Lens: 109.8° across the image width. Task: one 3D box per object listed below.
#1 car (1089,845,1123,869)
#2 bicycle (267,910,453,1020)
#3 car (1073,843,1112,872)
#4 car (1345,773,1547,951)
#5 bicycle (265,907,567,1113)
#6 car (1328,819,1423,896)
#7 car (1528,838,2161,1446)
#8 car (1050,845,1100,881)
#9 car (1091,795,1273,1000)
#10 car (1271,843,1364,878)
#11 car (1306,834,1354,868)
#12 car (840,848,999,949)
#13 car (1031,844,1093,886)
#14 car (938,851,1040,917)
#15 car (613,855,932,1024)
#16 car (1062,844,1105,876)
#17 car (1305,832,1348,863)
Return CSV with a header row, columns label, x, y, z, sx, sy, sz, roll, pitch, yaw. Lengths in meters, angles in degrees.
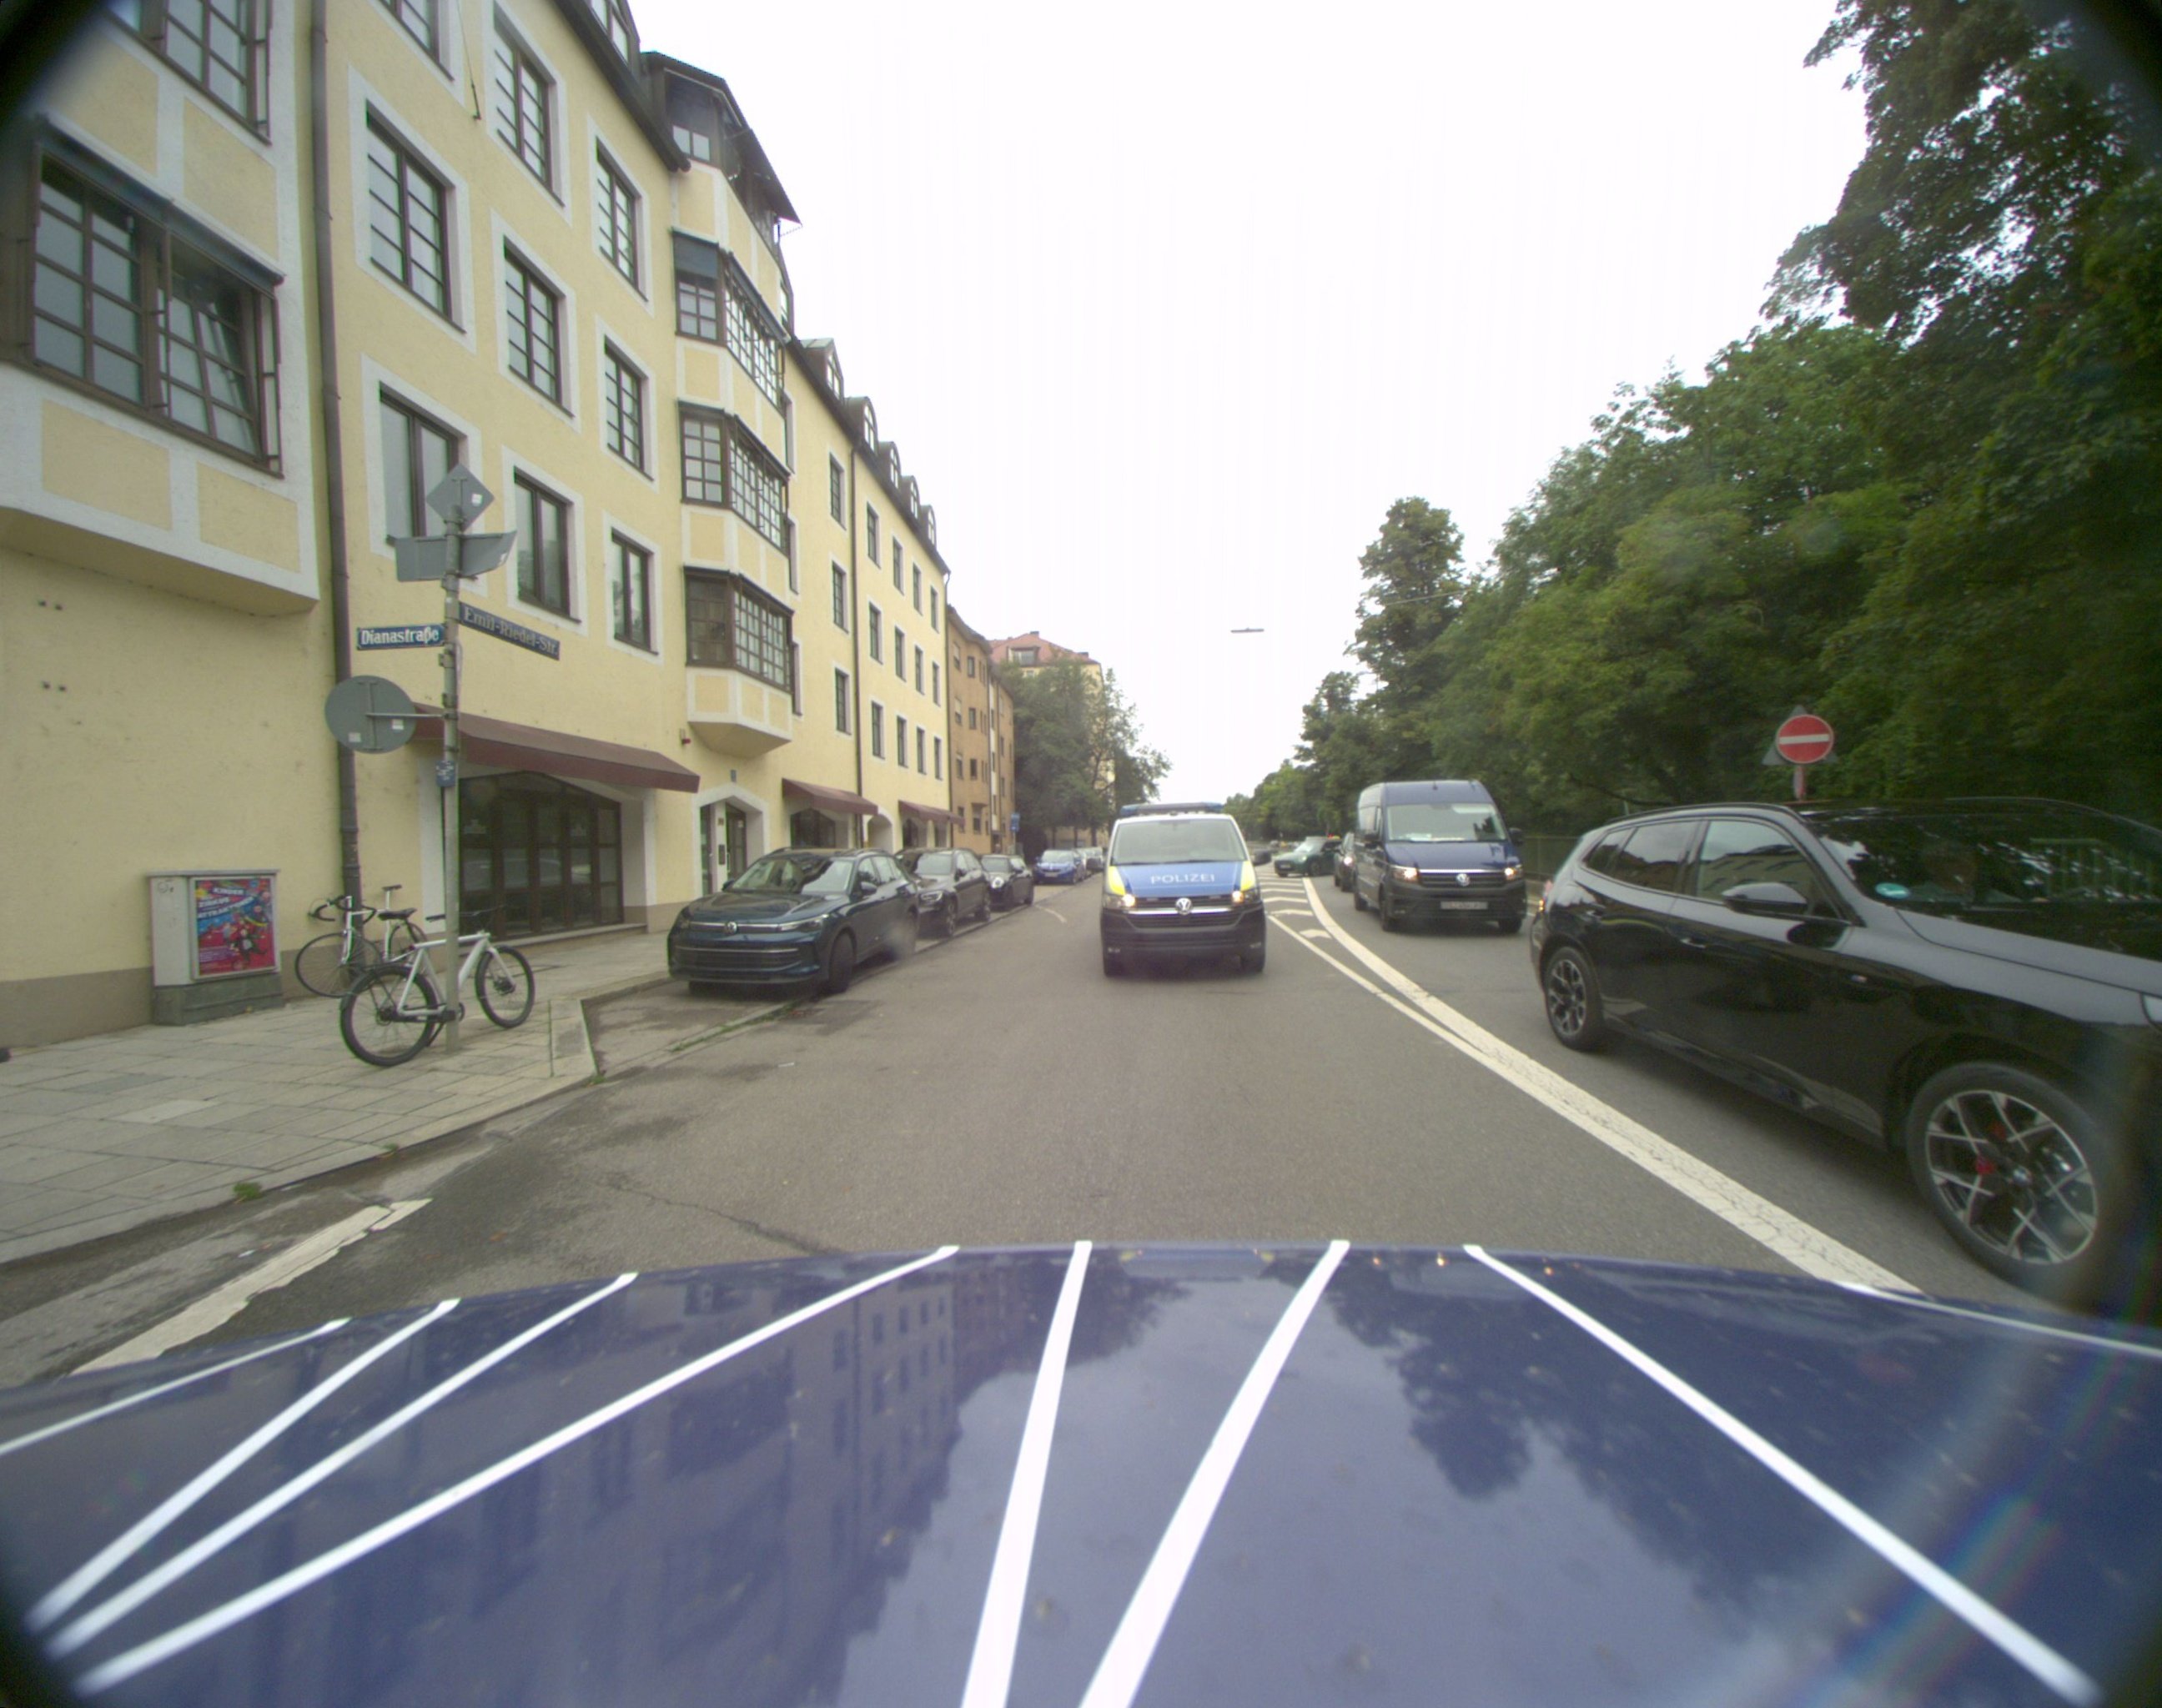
label,x,y,z,sx,sy,sz,roll,pitch,yaw
car,1.770,0.177,53.182,1.882,1.474,4.301,-3,1,7
bicycle,-7.699,1.140,8.216,0.262,0.897,1.695,3,2,5
car,0.777,0.164,47.851,1.882,1.642,4.301,-3,1,7
car,6.205,0.042,13.811,2.003,2.477,6.237,-1,2,13
bicycle,-5.026,1.091,5.975,0.430,1.152,2.053,0,2,4
car,8.613,0.046,22.724,2.004,1.925,5.811,-3,1,15
car,4.010,0.735,3.429,1.920,1.557,4.295,-1,2,8
car,-0.252,0.405,38.293,1.882,1.642,4.618,-3,1,7
car,1.288,0.437,10.733,1.826,2.087,5.634,-2,1,5
car,9.475,0.233,30.397,3.617,1.207,1.493,-2,1,-31
car,13.069,-0.210,40.168,2.101,1.581,5.573,-3,1,15
car,-3.023,0.751,15.184,1.817,1.580,4.165,3,2,6
car,-0.725,0.398,33.060,1.882,1.642,5.619,0,1,7
car,-2.343,0.717,20.268,1.763,1.514,3.934,1,1,8
car,-3.582,0.874,9.965,2.111,1.613,4.497,-1,1,3
car,0.201,0.314,43.145,1.882,1.642,4.586,-3,1,6
car,15.505,-0.440,48.301,2.313,1.719,5.220,-3,1,15
